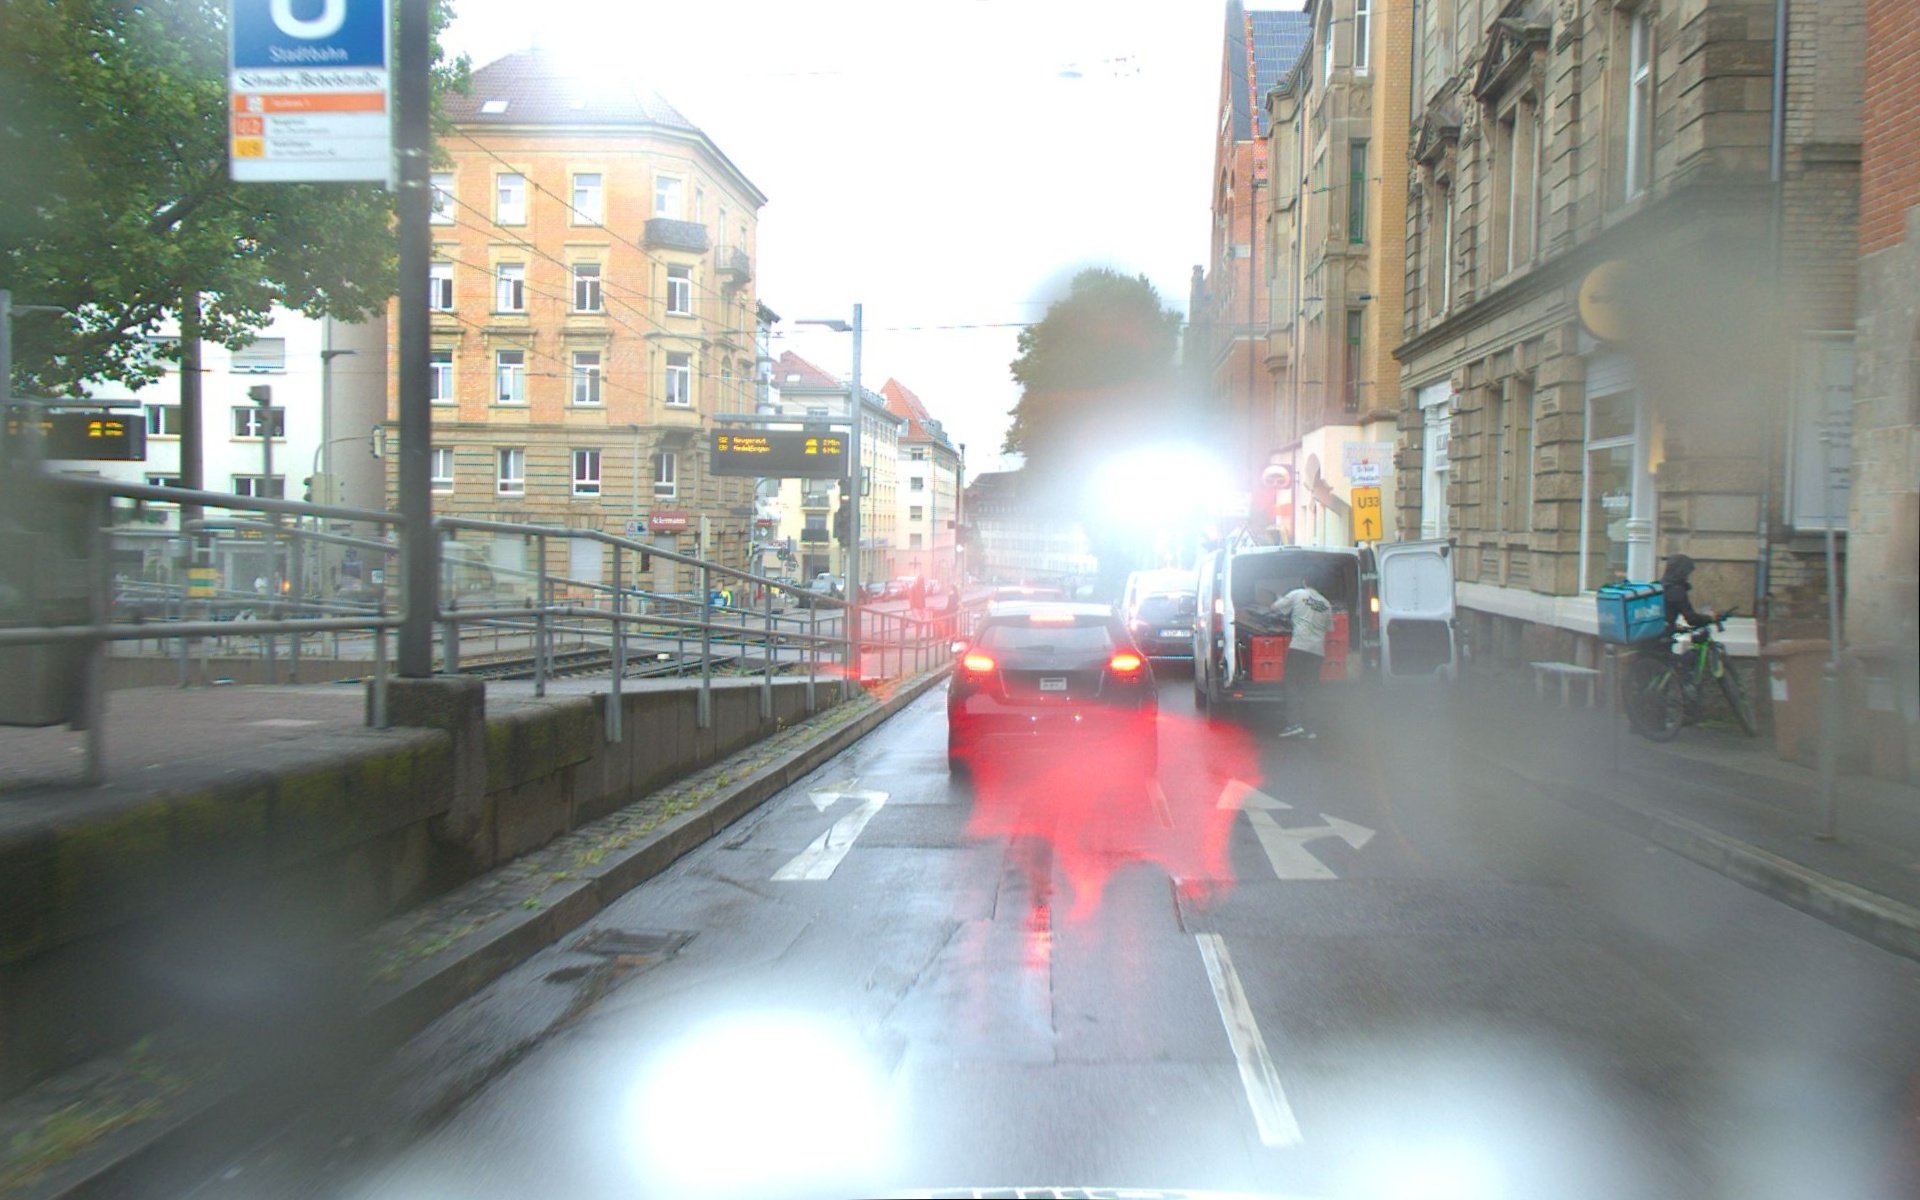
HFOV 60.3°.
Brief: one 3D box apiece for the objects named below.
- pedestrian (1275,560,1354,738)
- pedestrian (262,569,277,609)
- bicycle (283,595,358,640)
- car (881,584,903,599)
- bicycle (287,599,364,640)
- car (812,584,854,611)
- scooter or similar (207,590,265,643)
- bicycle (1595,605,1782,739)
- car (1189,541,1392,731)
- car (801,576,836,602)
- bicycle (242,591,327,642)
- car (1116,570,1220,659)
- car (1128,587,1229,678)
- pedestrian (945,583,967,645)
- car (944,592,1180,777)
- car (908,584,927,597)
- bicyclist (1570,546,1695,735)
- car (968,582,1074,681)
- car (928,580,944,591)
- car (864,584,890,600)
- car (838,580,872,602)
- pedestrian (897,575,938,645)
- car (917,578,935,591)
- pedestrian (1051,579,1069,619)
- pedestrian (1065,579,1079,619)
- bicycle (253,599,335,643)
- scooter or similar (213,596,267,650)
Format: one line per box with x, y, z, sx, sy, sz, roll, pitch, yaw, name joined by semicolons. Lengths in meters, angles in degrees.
3.650;0.493;17.074;0.670;1.784;0.837;-1;0;5;pedestrian
-28.706;-0.476;68.772;0.512;1.650;0.480;0;0;-35;pedestrian
-16.726;0.460;43.278;1.733;1.162;0.517;0;0;-7;bicycle
-5.311;-0.686;129.997;1.366;1.191;3.164;0;1;5;car
-16.855;0.524;43.979;1.835;1.083;0.517;0;0;-7;bicycle
-7.479;-0.156;97.682;1.748;1.556;4.465;0;1;5;car
-16.913;0.378;38.642;0.294;1.216;1.243;0;1;43;scooter or similar
6.578;0.631;14.927;1.658;1.135;0.462;-1;0;-19;bicycle
3.755;0.352;19.544;1.880;1.969;4.688;0;0;5;car
-7.773;-0.631;91.060;1.421;1.341;3.297;1;1;3;car
-16.391;0.401;40.168;1.835;1.216;0.517;0;0;-7;bicycle
4.584;0.264;36.995;1.893;1.863;4.282;0;1;2;car
3.977;0.520;29.826;1.676;1.494;4.285;0;1;9;car
-0.112;0.350;41.654;0.521;1.557;0.436;0;0;-4;pedestrian
0.980;0.649;14.987;1.854;1.414;4.003;0;1;5;car
-3.801;-0.865;147.715;1.366;1.191;3.164;0;1;5;car
6.190;0.357;15.241;0.834;1.686;0.628;-1;0;-18;bicyclist
1.039;0.474;27.686;1.645;1.515;3.614;0;1;2;car
-2.429;-1.488;169.580;1.366;1.191;3.164;0;1;5;car
-5.846;-0.594;116.845;1.406;1.126;3.164;0;1;5;car
-6.604;-0.584;104.406;1.645;1.379;3.705;0;1;5;car
-1.079;0.249;41.823;0.734;1.754;0.731;0;0;-39;pedestrian
-3.197;-1.459;157.031;1.366;1.191;3.164;0;1;5;car
4.221;-0.044;69.700;0.664;1.690;0.677;0;0;11;pedestrian
4.779;-0.053;70.647;0.507;1.695;0.477;1;1;7;pedestrian
-16.575;0.532;41.187;1.835;1.080;0.517;0;0;-7;bicycle
-16.611;0.522;38.159;0.356;1.216;1.105;1;1;43;scooter or similar
